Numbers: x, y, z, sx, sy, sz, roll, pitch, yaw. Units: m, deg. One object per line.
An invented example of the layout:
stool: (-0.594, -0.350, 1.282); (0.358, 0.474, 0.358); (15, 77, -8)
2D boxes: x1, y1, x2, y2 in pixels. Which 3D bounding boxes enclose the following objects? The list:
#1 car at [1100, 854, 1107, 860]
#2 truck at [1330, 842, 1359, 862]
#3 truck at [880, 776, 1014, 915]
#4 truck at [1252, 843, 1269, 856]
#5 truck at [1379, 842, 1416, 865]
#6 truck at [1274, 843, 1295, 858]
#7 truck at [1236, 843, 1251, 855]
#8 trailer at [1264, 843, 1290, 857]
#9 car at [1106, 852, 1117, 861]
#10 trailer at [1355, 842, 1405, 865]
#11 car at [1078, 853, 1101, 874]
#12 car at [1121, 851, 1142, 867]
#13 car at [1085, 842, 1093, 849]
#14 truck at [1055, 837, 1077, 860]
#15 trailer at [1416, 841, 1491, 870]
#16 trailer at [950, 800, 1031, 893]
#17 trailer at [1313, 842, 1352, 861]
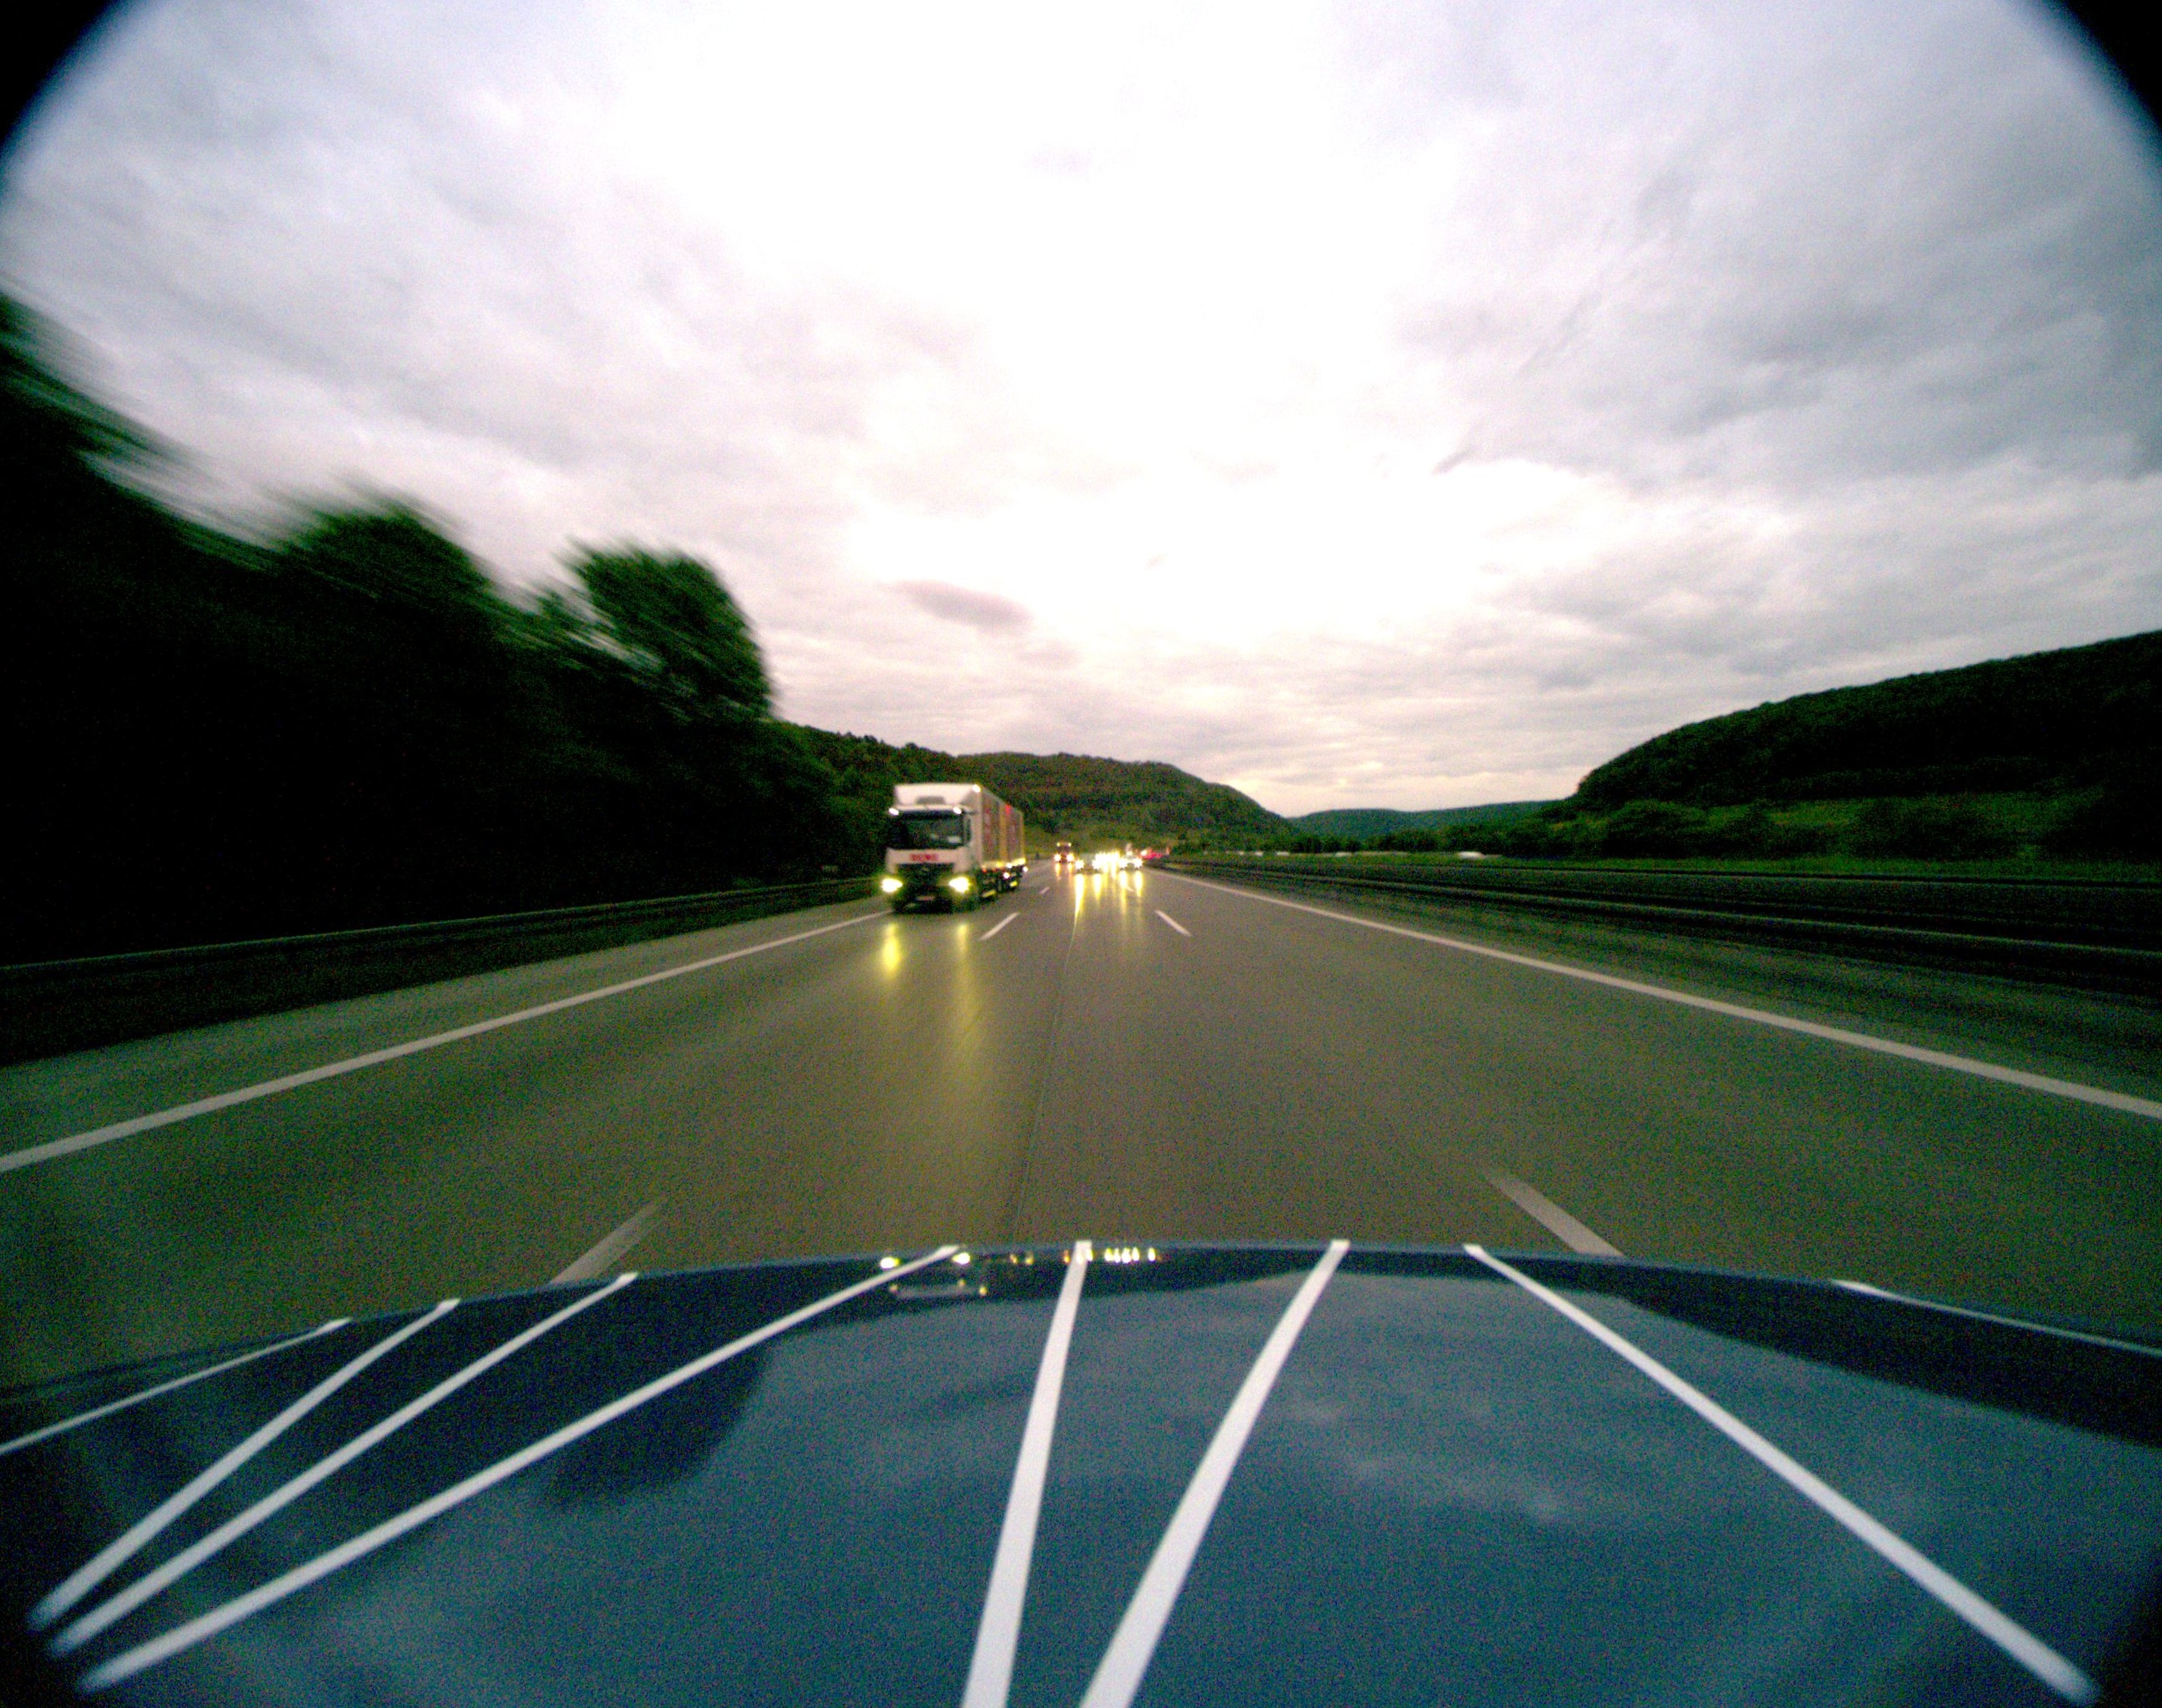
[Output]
car: (5.786, 0.669, 195.996); (1.898, 1.503, 4.000); (-1, 1, 1)
truck: (42.283, -0.333, 121.938); (2.874, 3.071, 5.304); (0, 1, 1)
truck: (-4.147, -0.312, 26.083); (2.623, 3.805, 10.384); (0, 1, 1)
truck: (43.704, -1.081, 185.121); (2.874, 3.070, 5.892); (0, 1, 1)
truck: (42.125, -0.088, 101.303); (2.874, 3.071, 5.304); (0, 1, 1)
truck: (43.402, -0.811, 162.315); (2.874, 3.070, 5.892); (0, 1, 1)
truck: (44.109, -1.329, 206.020); (2.874, 3.070, 5.892); (0, 1, 1)
trailer: (43.560, -0.897, 169.541); (2.874, 3.070, 12.484); (0, 1, 1)
car: (5.658, 0.411, 142.231); (1.894, 1.650, 5.638); (-1, 1, 0)
trailer: (42.272, -0.166, 107.905); (2.874, 3.070, 11.159); (0, 1, 1)
car: (0.743, 0.762, 66.026); (1.927, 1.674, 4.806); (0, 1, 0)
car: (4.952, 0.440, 75.085); (1.794, 1.492, 5.037); (-2, 0, 0)
car: (2.281, -2.334, 210.190); (1.932, 1.492, 4.134); (-5, 0, 2)
truck: (-2.553, -0.963, 135.256); (3.119, 3.850, 14.162); (2, 1, 1)
trailer: (42.189, 0.087, 86.565); (2.874, 3.070, 11.157); (0, 1, -1)
trailer: (-4.033, -0.365, 35.736); (2.623, 3.805, 8.876); (0, 1, 1)
trailer: (42.320, -0.377, 128.131); (2.880, 3.035, 11.726); (0, 0, 1)
